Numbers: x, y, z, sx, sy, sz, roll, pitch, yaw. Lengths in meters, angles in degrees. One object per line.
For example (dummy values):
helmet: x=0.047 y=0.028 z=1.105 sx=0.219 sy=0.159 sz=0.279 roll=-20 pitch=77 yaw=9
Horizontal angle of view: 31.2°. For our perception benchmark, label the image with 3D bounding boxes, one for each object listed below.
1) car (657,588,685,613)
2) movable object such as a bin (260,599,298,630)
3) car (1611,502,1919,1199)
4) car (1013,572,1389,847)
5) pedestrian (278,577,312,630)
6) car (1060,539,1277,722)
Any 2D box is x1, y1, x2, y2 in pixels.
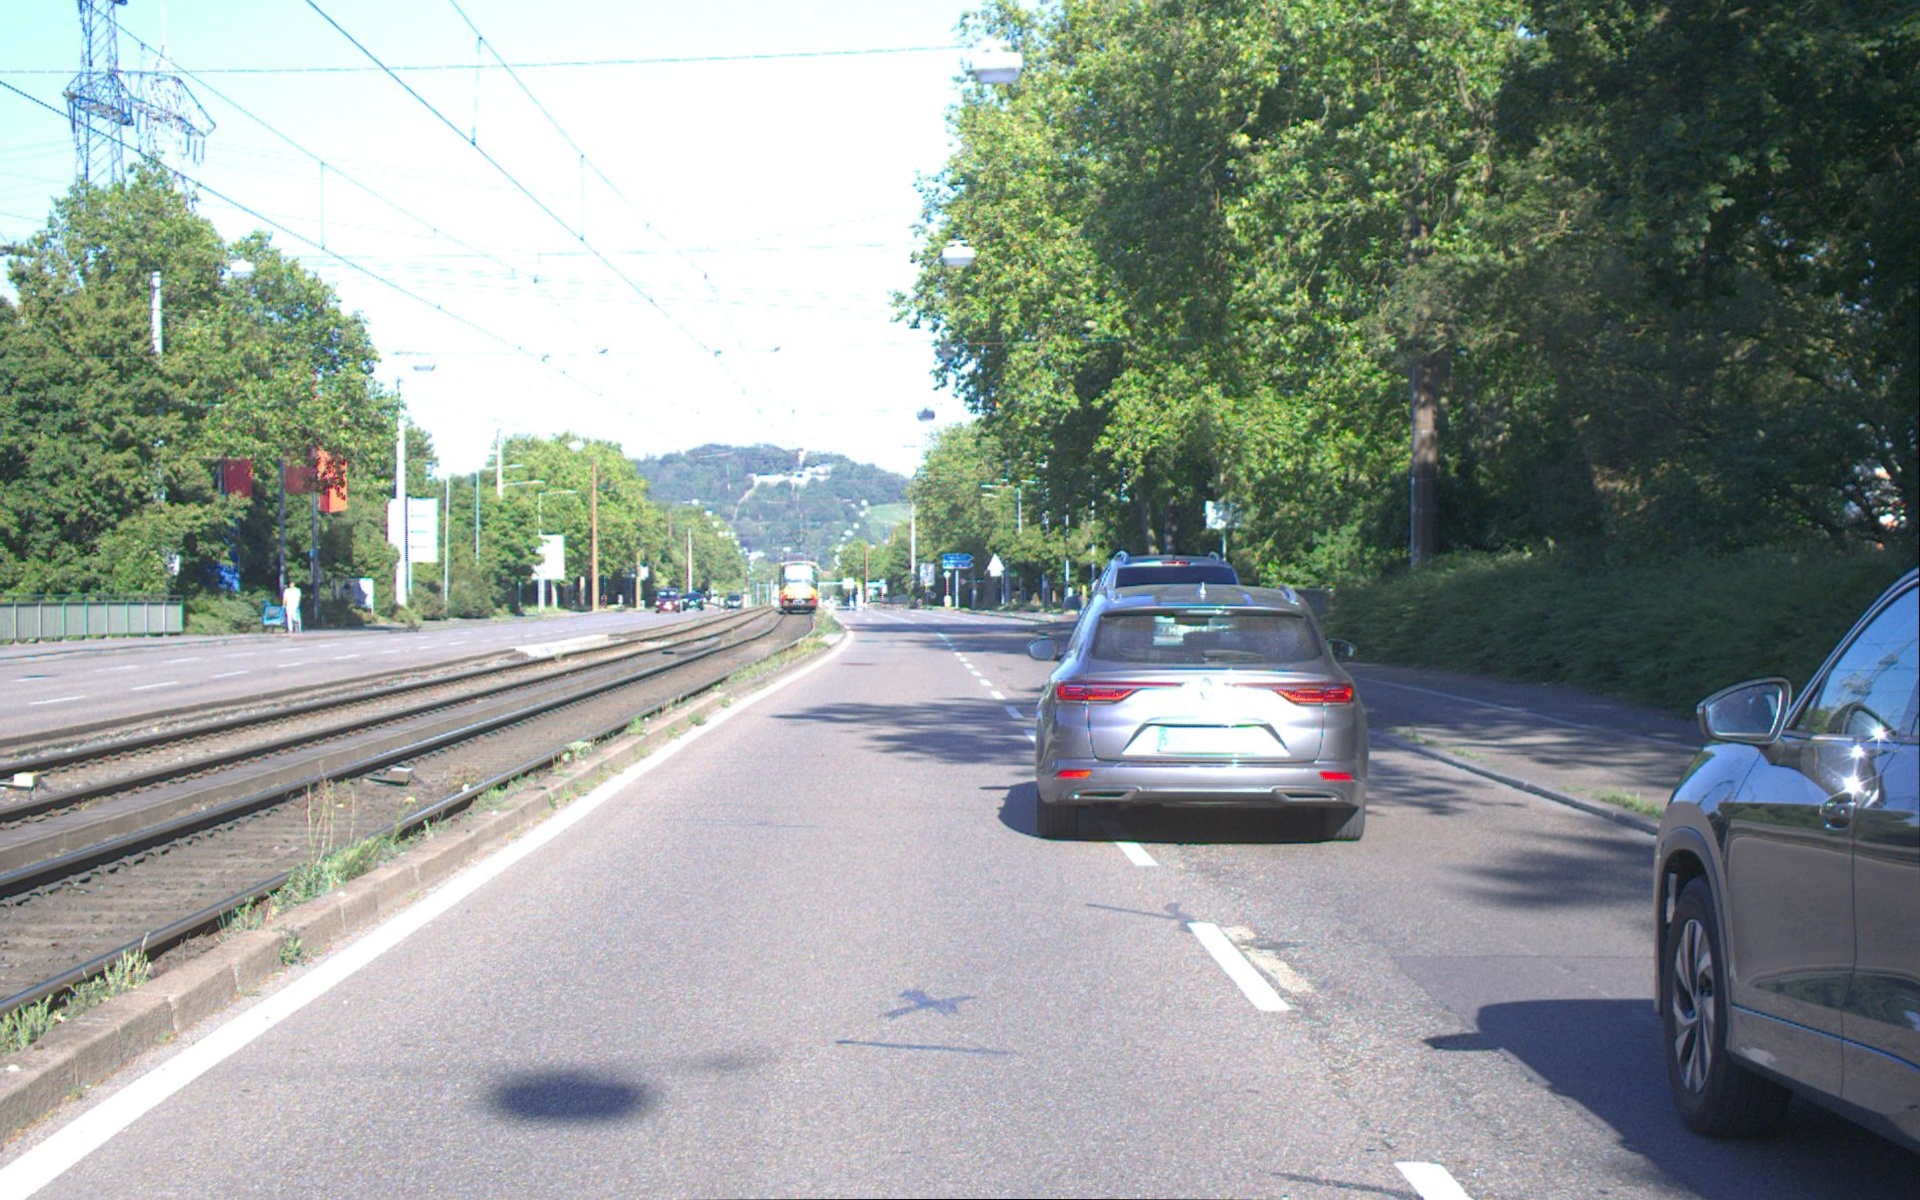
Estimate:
car: x=-21.074 y=0.038 z=250.751 sx=1.862 sy=1.714 sz=4.000 roll=0 pitch=1 yaw=-2
movable object such as a bin: x=-22.545 y=0.482 z=113.860 sx=0.725 sy=0.958 sz=1.100 roll=2 pitch=-1 yaw=20
car: x=2.863 y=0.640 z=7.633 sx=1.844 sy=1.655 sz=4.440 roll=1 pitch=0 yaw=-2
car: x=1.323 y=0.576 z=20.682 sx=1.866 sy=1.462 sz=4.666 roll=0 pitch=0 yaw=-1
pedestrian: x=-22.194 y=0.117 z=114.768 sx=0.725 sy=1.750 sz=0.834 roll=2 pitch=-1 yaw=20
car: x=2.176 y=0.270 z=36.871 sx=1.883 sy=1.789 sz=4.000 roll=2 pitch=1 yaw=-2
